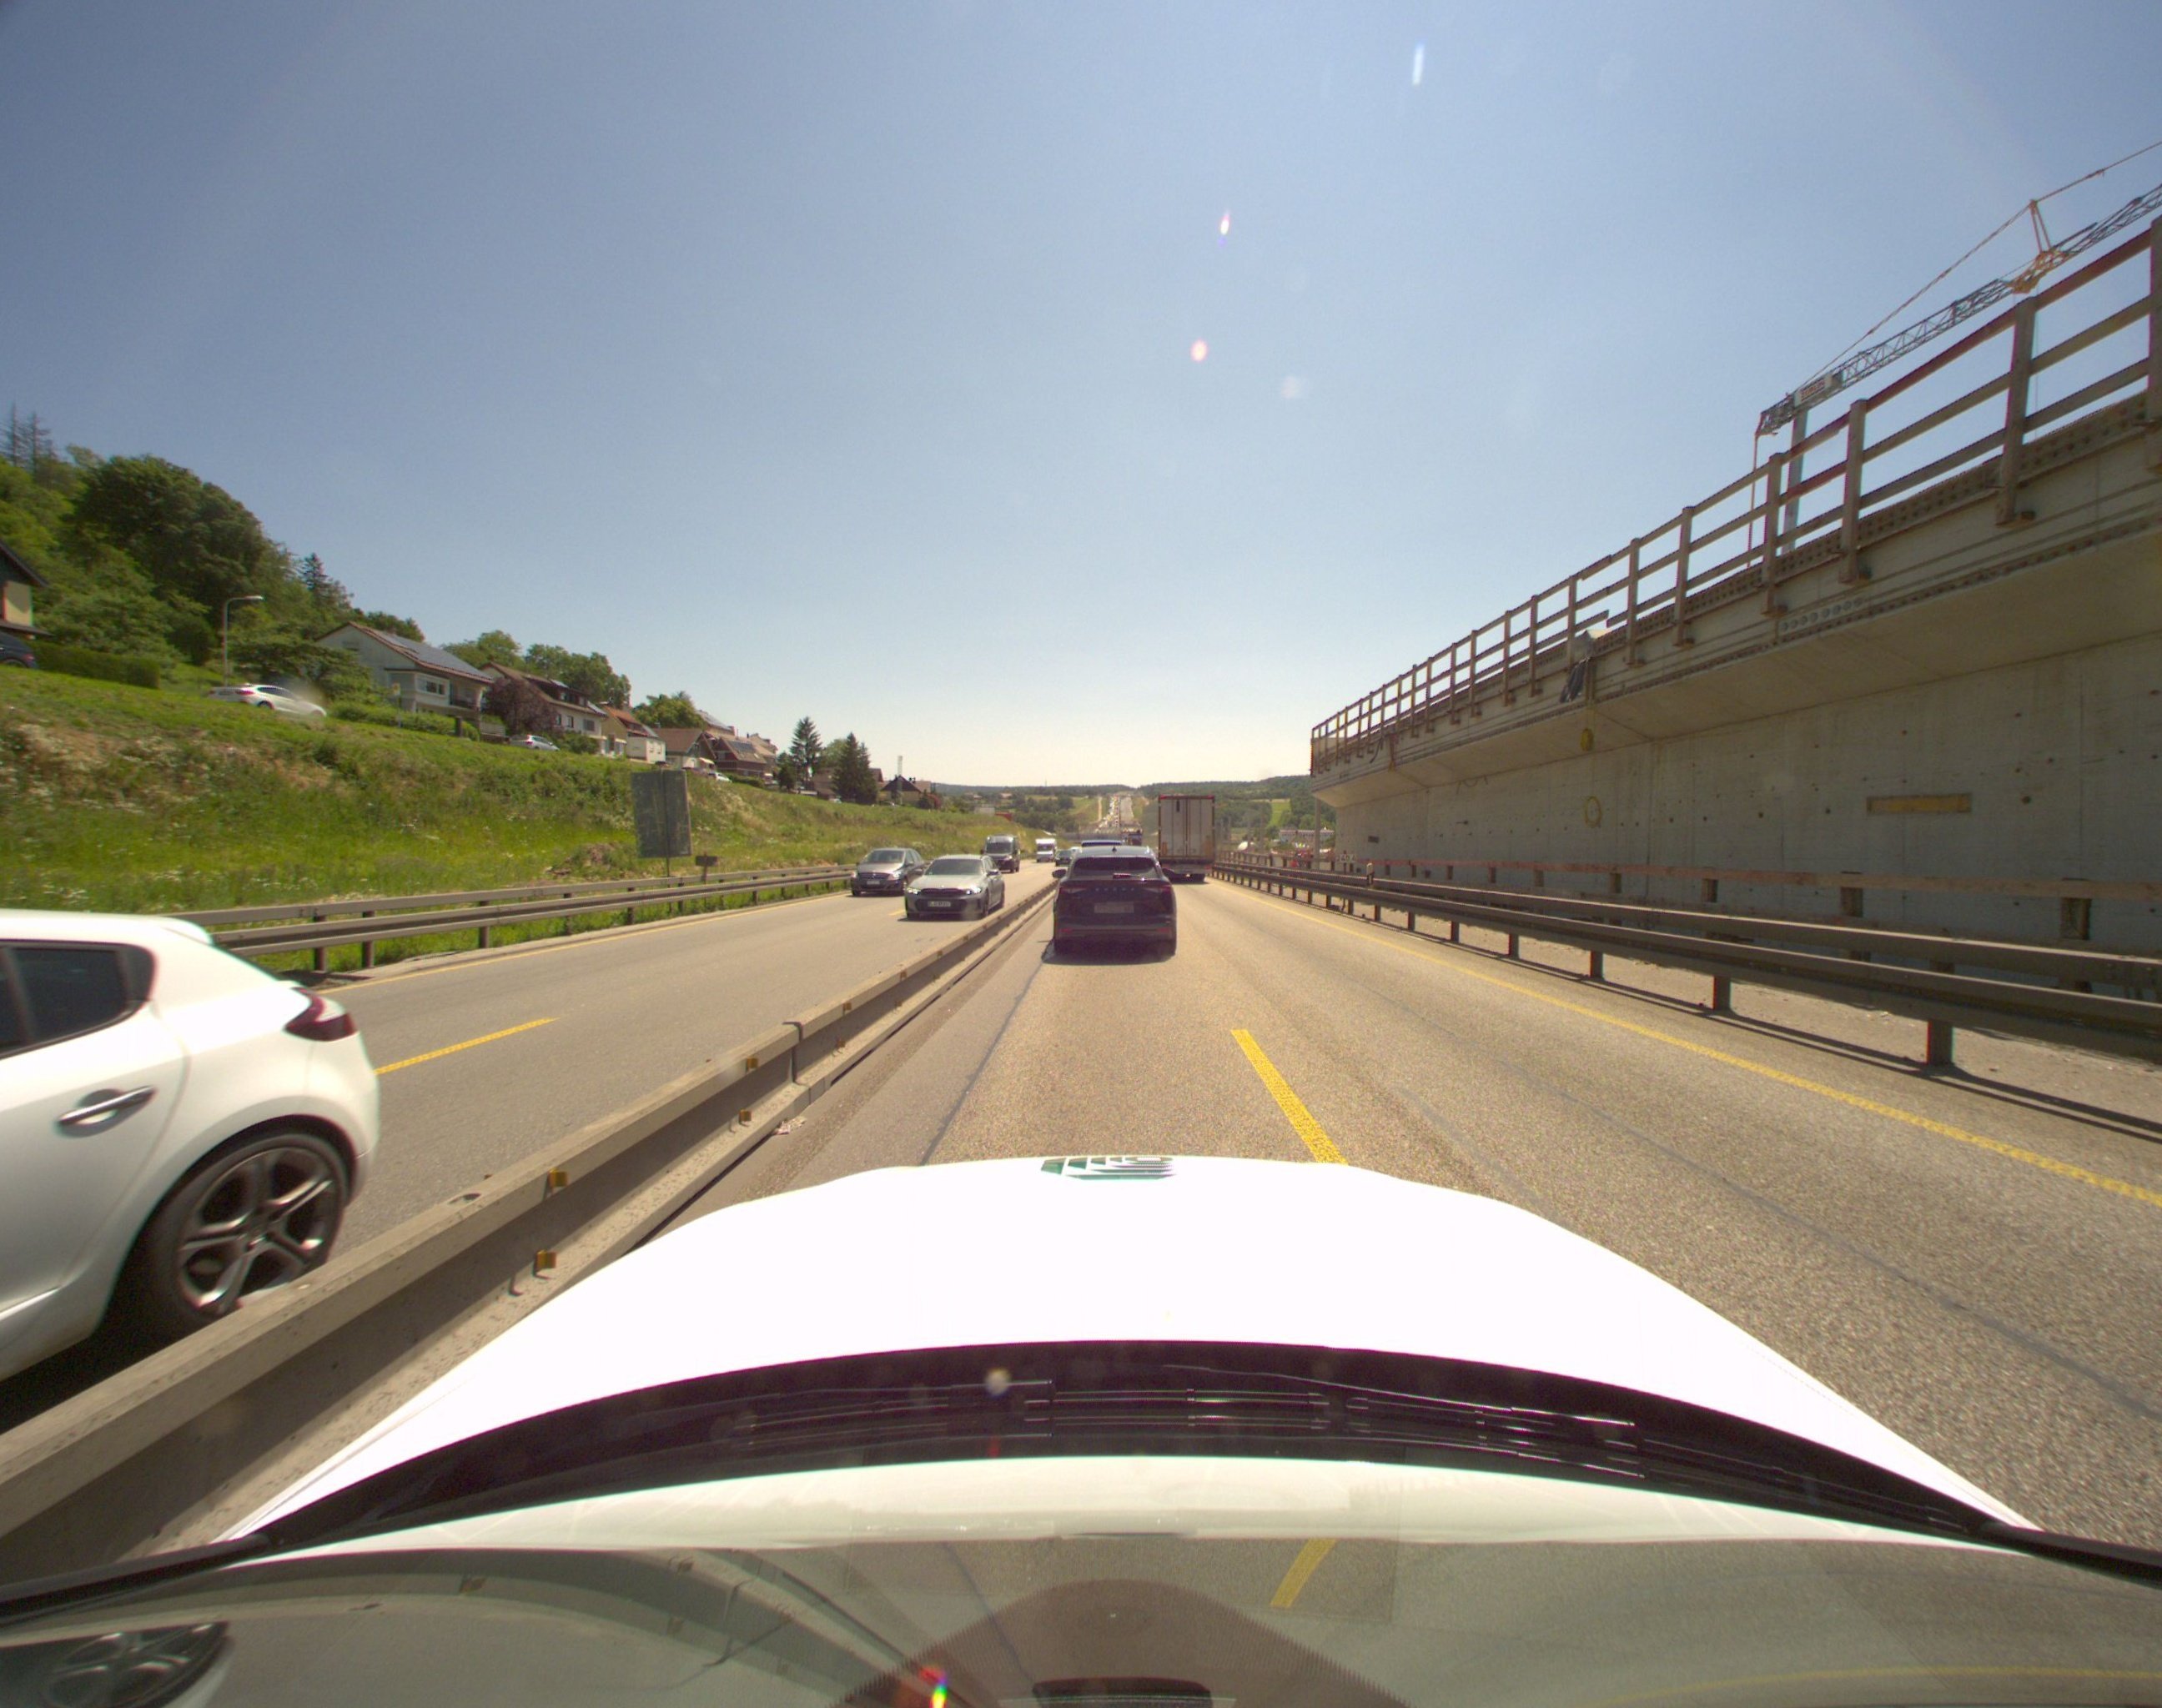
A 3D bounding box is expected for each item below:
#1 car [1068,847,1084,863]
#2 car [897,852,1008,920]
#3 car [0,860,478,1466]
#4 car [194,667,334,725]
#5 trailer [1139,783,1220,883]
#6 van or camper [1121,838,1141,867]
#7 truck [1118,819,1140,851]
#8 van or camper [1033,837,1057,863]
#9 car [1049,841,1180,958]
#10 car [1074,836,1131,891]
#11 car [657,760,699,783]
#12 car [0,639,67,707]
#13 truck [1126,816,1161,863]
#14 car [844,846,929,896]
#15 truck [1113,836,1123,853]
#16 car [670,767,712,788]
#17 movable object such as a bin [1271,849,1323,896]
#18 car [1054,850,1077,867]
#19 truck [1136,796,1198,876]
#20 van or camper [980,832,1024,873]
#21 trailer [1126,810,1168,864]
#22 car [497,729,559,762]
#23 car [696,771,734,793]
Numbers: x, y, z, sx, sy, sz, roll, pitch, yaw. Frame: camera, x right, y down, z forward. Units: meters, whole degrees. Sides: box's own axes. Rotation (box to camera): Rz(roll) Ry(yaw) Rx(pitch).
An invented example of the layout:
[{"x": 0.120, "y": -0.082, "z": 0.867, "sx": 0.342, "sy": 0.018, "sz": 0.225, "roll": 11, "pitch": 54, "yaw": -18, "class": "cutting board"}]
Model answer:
[{"x": -0.593, "y": 0.108, "z": 98.363, "sx": 1.831, "sy": 1.828, "sz": 5.041, "roll": 0, "pitch": 0, "yaw": 1, "class": "car"}, {"x": -2.978, "y": 0.687, "z": 19.846, "sx": 1.822, "sy": 1.433, "sz": 4.631, "roll": -1, "pitch": 0, "yaw": 2, "class": "car"}, {"x": -3.550, "y": 0.766, "z": 1.506, "sx": 1.795, "sy": 1.464, "sz": 4.002, "roll": 0, "pitch": 0, "yaw": 2, "class": "car"}, {"x": -39.715, "y": -7.644, "z": 39.811, "sx": 1.990, "sy": 1.794, "sz": 5.003, "roll": 0, "pitch": -1, "yaw": -5, "class": "car"}, {"x": 4.921, "y": -1.017, "z": 43.471, "sx": 3.168, "sy": 4.512, "sz": 13.115, "roll": 0, "pitch": 1, "yaw": 2, "class": "trailer"}, {"x": 6.093, "y": -0.127, "z": 98.994, "sx": 2.378, "sy": 3.281, "sz": 6.475, "roll": -1, "pitch": -1, "yaw": 4, "class": "van or camper"}, {"x": 7.318, "y": -2.836, "z": 125.190, "sx": 2.842, "sy": 4.465, "sz": 11.920, "roll": 0, "pitch": -1, "yaw": 1, "class": "truck"}, {"x": -4.274, "y": -0.466, "z": 97.518, "sx": 2.282, "sy": 3.066, "sz": 6.927, "roll": 0, "pitch": 0, "yaw": 2, "class": "van or camper"}, {"x": 0.550, "y": 0.639, "z": 13.215, "sx": 1.795, "sy": 1.607, "sz": 4.002, "roll": 0, "pitch": 0, "yaw": 2, "class": "car"}, {"x": 0.824, "y": 0.366, "z": 30.643, "sx": 1.986, "sy": 1.926, "sz": 4.509, "roll": 0, "pitch": -1, "yaw": 2, "class": "car"}, {"x": -41.124, "y": -8.435, "z": 83.217, "sx": 2.175, "sy": 1.794, "sz": 4.755, "roll": 0, "pitch": -1, "yaw": -5, "class": "car"}, {"x": -38.999, "y": -6.558, "z": 28.027, "sx": 2.066, "sy": 2.008, "sz": 4.967, "roll": 0, "pitch": -1, "yaw": -3, "class": "car"}, {"x": 6.199, "y": -1.322, "z": 82.500, "sx": 3.168, "sy": 4.513, "sz": 8.168, "roll": 0, "pitch": -1, "yaw": 2, "class": "truck"}, {"x": -6.624, "y": 0.525, "z": 28.158, "sx": 1.766, "sy": 1.582, "sz": 4.287, "roll": 0, "pitch": 0, "yaw": 2, "class": "car"}, {"x": 9.900, "y": -2.541, "z": 220.783, "sx": 2.629, "sy": 4.194, "sz": 9.288, "roll": 0, "pitch": -1, "yaw": 2, "class": "truck"}, {"x": -42.724, "y": -8.338, "z": 89.409, "sx": 2.341, "sy": 1.794, "sz": 4.798, "roll": 0, "pitch": -1, "yaw": -1, "class": "car"}, {"x": 23.005, "y": 1.963, "z": 87.178, "sx": 3.215, "sy": 4.743, "sz": 9.658, "roll": 0, "pitch": -1, "yaw": 2, "class": "movable object such as a bin"}, {"x": -1.418, "y": 0.403, "z": 74.840, "sx": 1.836, "sy": 1.475, "sz": 4.837, "roll": 0, "pitch": 0, "yaw": 2, "class": "car"}, {"x": 5.137, "y": -1.054, "z": 49.990, "sx": 3.168, "sy": 4.512, "sz": 8.170, "roll": 0, "pitch": 1, "yaw": 2, "class": "truck"}, {"x": -5.255, "y": -0.095, "z": 54.960, "sx": 2.132, "sy": 2.573, "sz": 6.567, "roll": 0, "pitch": 0, "yaw": 2, "class": "van or camper"}, {"x": 5.935, "y": -1.306, "z": 75.350, "sx": 3.168, "sy": 4.513, "sz": 14.972, "roll": 0, "pitch": -1, "yaw": 2, "class": "trailer"}, {"x": -40.023, "y": -7.845, "z": 59.031, "sx": 1.990, "sy": 1.794, "sz": 3.993, "roll": 0, "pitch": -1, "yaw": -5, "class": "car"}, {"x": -42.946, "y": -8.412, "z": 95.703, "sx": 2.341, "sy": 2.041, "sz": 4.815, "roll": 0, "pitch": -1, "yaw": -1, "class": "car"}]
